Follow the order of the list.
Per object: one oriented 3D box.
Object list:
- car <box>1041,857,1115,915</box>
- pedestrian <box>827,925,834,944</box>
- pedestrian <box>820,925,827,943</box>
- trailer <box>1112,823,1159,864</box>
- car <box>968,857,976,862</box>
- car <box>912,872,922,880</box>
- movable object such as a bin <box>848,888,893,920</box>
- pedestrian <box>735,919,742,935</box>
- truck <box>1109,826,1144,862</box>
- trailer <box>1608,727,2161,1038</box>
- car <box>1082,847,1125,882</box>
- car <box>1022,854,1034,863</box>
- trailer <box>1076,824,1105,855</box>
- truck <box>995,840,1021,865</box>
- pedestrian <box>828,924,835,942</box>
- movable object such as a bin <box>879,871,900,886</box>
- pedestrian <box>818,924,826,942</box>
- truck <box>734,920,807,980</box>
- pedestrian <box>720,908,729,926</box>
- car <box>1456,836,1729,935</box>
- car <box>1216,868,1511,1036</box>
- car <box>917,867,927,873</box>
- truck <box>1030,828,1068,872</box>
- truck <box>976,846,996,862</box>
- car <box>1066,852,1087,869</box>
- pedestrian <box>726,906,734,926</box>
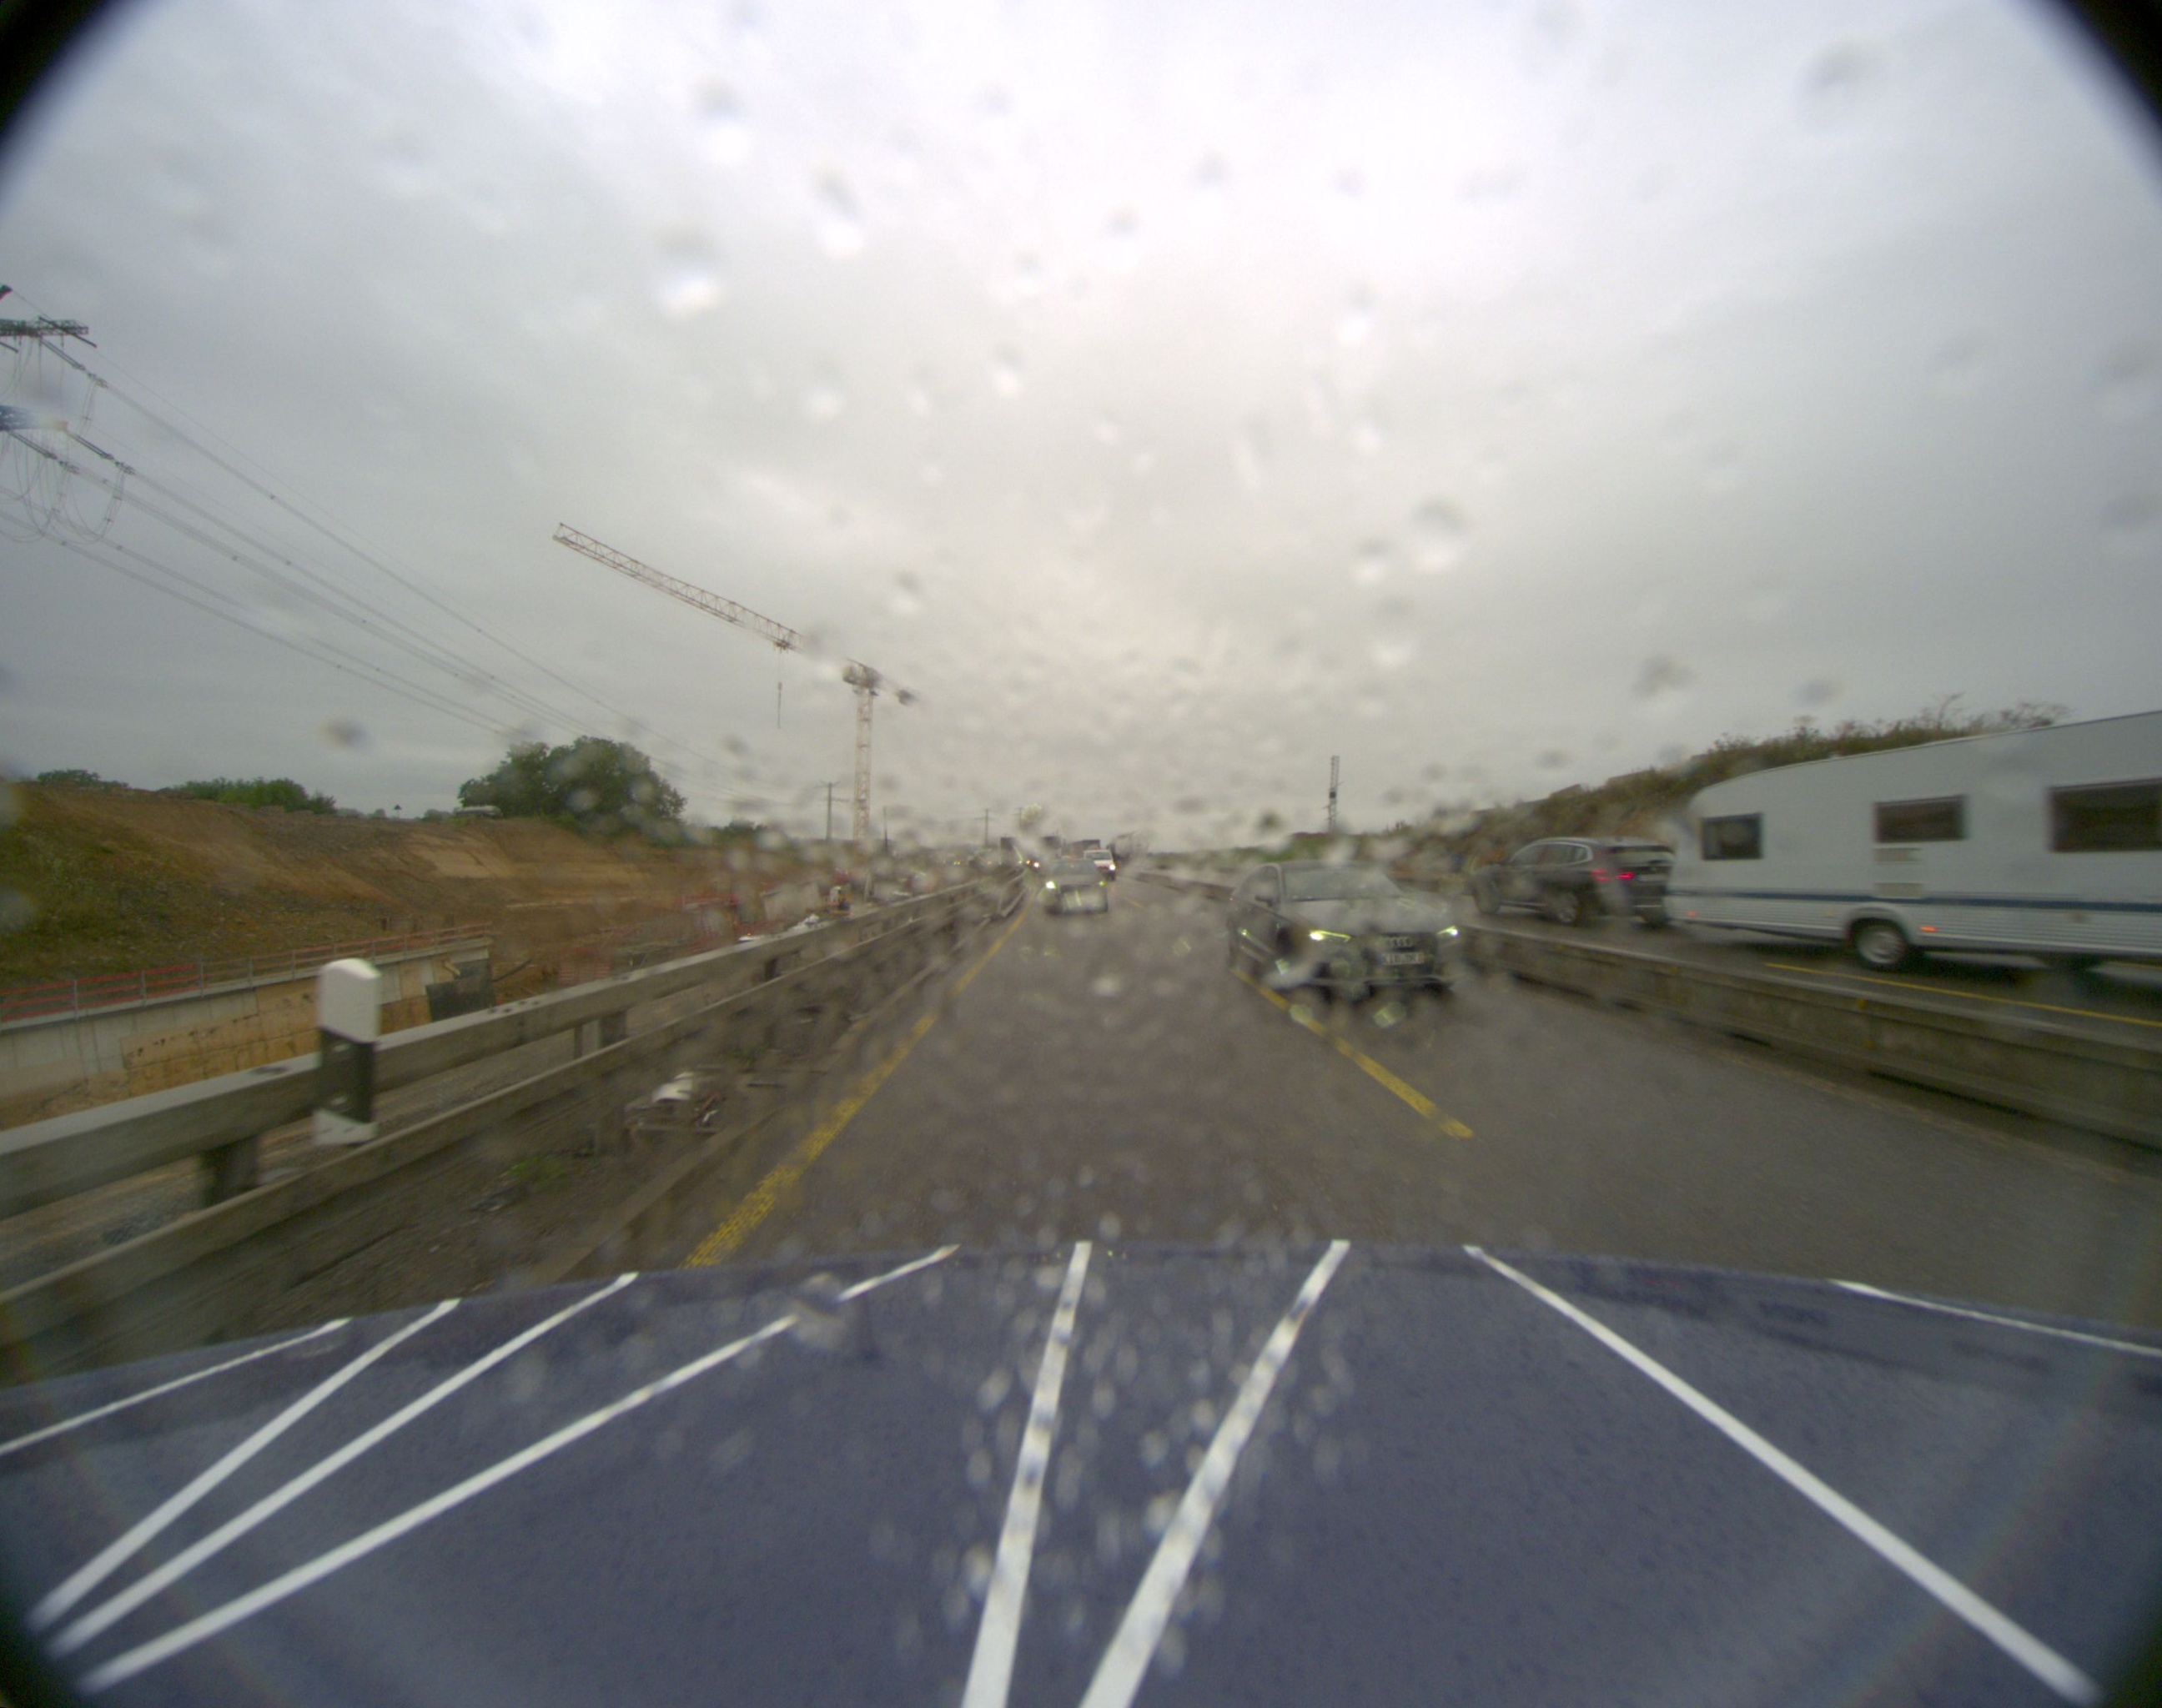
[{"bbox_3d":[-0.184,0.857,22.491,1.875,1.481,4.259,-2,0,-4],"label":"car"},{"bbox_3d":[-26.060,8.371,79.048,0.603,1.894,0.614,0,1,-6],"label":"pedestrian"},{"bbox_3d":[-26.411,8.240,77.935,0.603,1.759,0.481,2,1,-6],"label":"pedestrian"},{"bbox_3d":[5.575,-1.080,80.198,3.265,3.941,11.530,-1,1,-4],"label":"trailer"},{"bbox_3d":[-29.359,1.438,204.467,1.790,1.418,3.997,-3,1,-6],"label":"car"},{"bbox_3d":[-38.658,5.168,179.157,1.861,1.609,4.077,-1,1,-7],"label":"car"},{"bbox_3d":[-26.741,6.344,97.016,3.516,3.405,6.652,-2,2,3],"label":"movable object such as a bin"},{"bbox_3d":[-38.305,8.127,84.984,0.489,1.750,0.481,1,1,-6],"label":"pedestrian"},{"bbox_3d":[5.105,-1.099,86.604,3.240,3.933,5.878,-1,1,-4],"label":"truck"},{"bbox_3d":[10.087,0.184,9.076,2.516,2.549,7.162,-2,0,0],"label":"trailer"},{"bbox_3d":[1.314,0.590,46.336,2.070,1.934,5.154,-2,1,-4],"label":"car"},{"bbox_3d":[-10.099,0.821,144.120,1.790,1.646,3.997,-3,1,-8],"label":"car"},{"bbox_3d":[1.332,-2.087,116.888,3.004,4.395,15.695,0,0,-5],"label":"trailer"},{"bbox_3d":[-14.181,-0.334,146.412,4.320,4.319,13.398,-3,1,-7],"label":"truck"},{"bbox_3d":[-26.192,8.275,79.703,0.603,1.894,0.481,0,1,-6],"label":"pedestrian"},{"bbox_3d":[-40.396,5.177,160.429,3.503,2.865,3.997,4,0,-7],"label":"movable object such as a bin"},{"bbox_3d":[-27.216,8.279,79.855,0.603,1.894,0.481,1,1,-6],"label":"pedestrian"},{"bbox_3d":[-25.500,7.790,62.984,2.710,3.591,9.069,0,1,-3],"label":"truck"},{"bbox_3d":[-38.738,6.845,82.525,0.488,1.794,0.583,-5,2,34],"label":"pedestrian"},{"bbox_3d":[9.869,0.531,15.328,1.999,1.577,5.118,-2,0,0],"label":"car"},{"bbox_3d":[2.994,0.940,9.079,1.805,1.375,4.086,-2,1,-3],"label":"car"},{"bbox_3d":[-43.428,4.408,207.419,2.352,1.609,4.855,0,1,-7],"label":"car"},{"bbox_3d":[-2.865,-0.359,65.430,2.857,3.462,8.639,-2,1,-4],"label":"truck"},{"bbox_3d":[-23.745,0.016,190.123,3.550,3.871,8.323,-3,1,-17],"label":"truck"},{"bbox_3d":[-0.527,0.660,82.818,1.790,1.744,3.997,-3,1,-6],"label":"car"},{"bbox_3d":[-38.859,6.857,84.153,0.489,2.088,0.481,-6,2,-6],"label":"pedestrian"}]
